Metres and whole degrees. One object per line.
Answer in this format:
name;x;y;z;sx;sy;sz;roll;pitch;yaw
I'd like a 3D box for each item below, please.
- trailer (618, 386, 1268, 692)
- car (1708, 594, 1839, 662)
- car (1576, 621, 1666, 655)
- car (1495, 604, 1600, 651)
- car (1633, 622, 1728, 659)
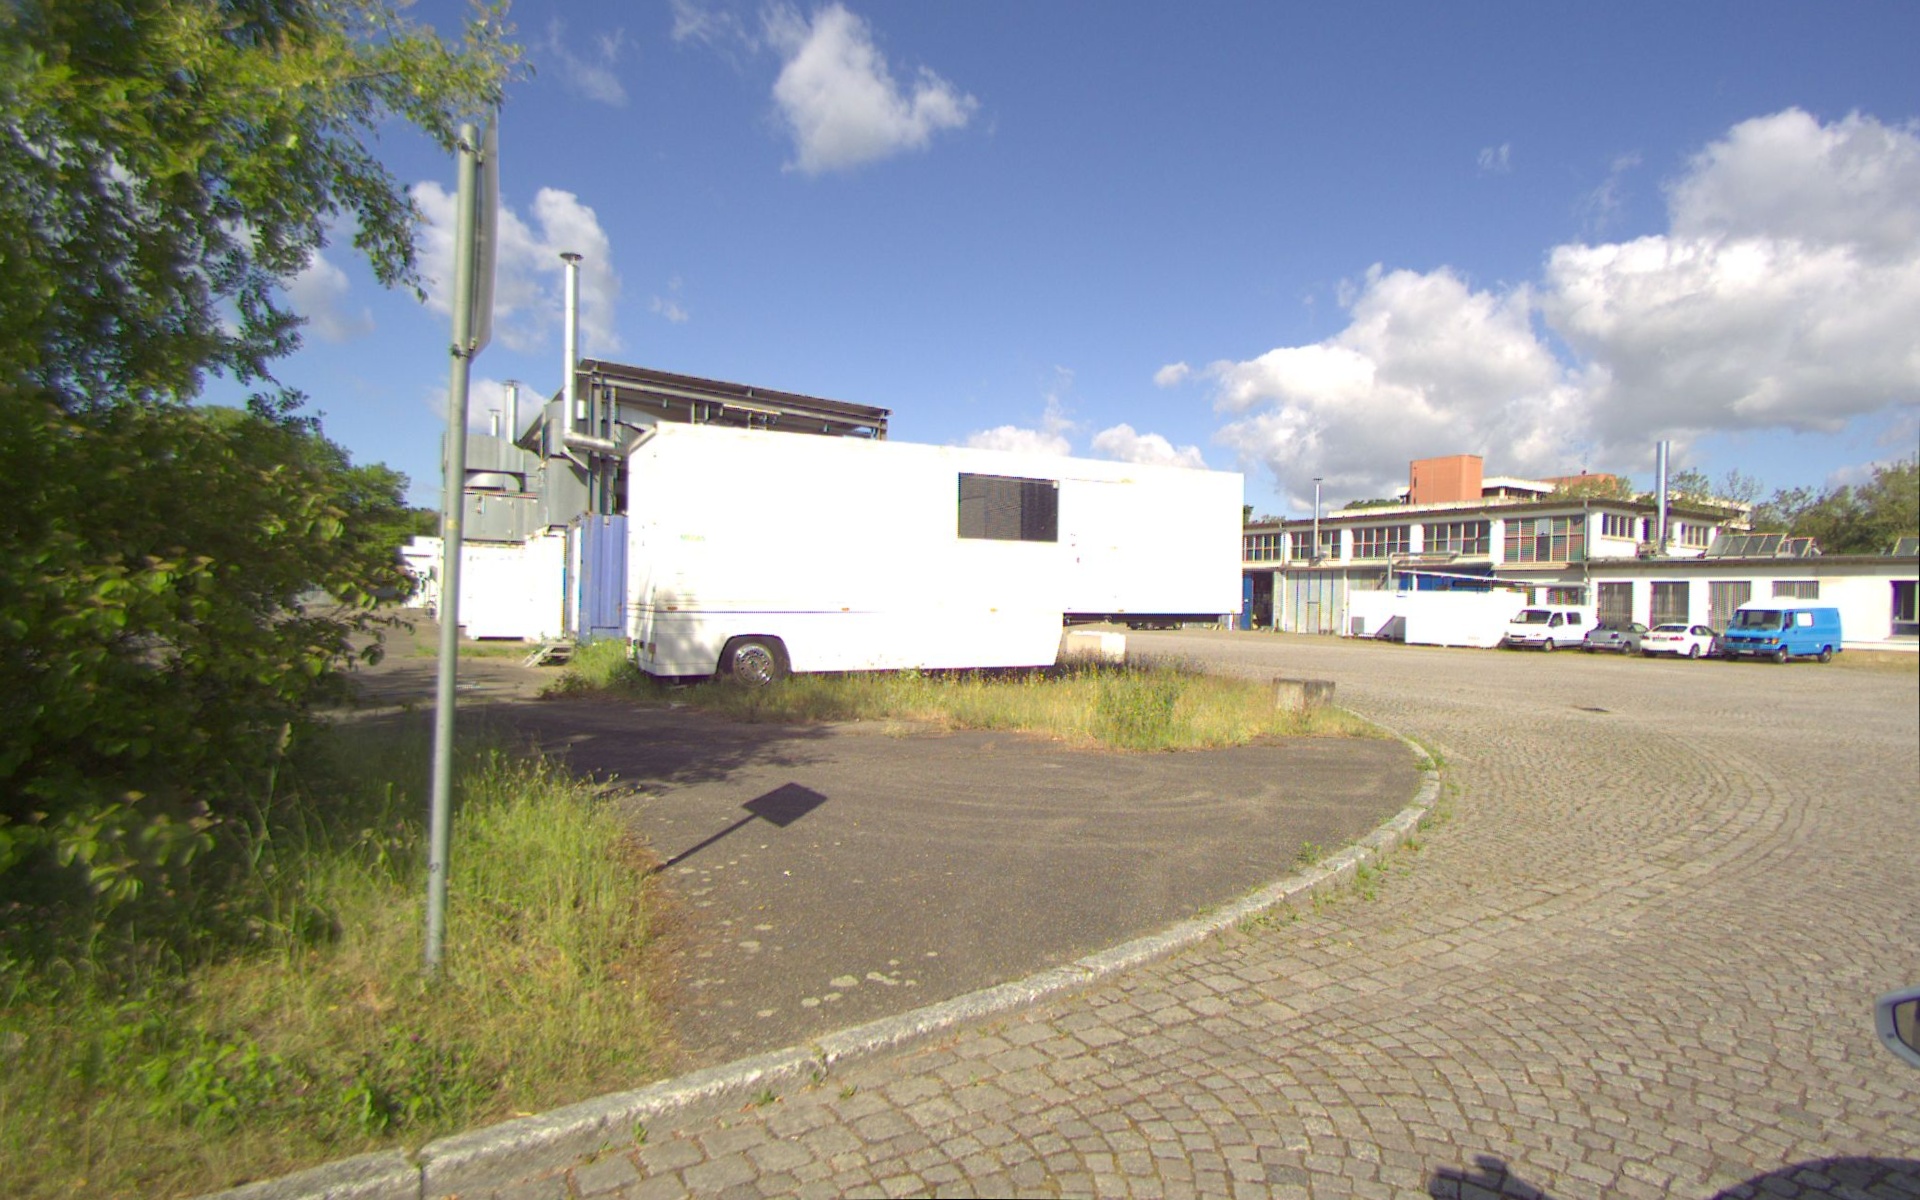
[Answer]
trailer;0.142;-0.667;16.764;10.749;3.963;2.761;1;0;-28
car;31.940;1.106;39.432;5.171;2.516;2.075;1;0;-27
car;29.168;1.674;44.316;3.783;1.417;1.680;1;0;-27
car;27.245;1.276;46.564;4.743;2.109;1.996;1;0;-27
car;29.693;1.634;41.399;3.691;1.424;1.726;0;0;-27
